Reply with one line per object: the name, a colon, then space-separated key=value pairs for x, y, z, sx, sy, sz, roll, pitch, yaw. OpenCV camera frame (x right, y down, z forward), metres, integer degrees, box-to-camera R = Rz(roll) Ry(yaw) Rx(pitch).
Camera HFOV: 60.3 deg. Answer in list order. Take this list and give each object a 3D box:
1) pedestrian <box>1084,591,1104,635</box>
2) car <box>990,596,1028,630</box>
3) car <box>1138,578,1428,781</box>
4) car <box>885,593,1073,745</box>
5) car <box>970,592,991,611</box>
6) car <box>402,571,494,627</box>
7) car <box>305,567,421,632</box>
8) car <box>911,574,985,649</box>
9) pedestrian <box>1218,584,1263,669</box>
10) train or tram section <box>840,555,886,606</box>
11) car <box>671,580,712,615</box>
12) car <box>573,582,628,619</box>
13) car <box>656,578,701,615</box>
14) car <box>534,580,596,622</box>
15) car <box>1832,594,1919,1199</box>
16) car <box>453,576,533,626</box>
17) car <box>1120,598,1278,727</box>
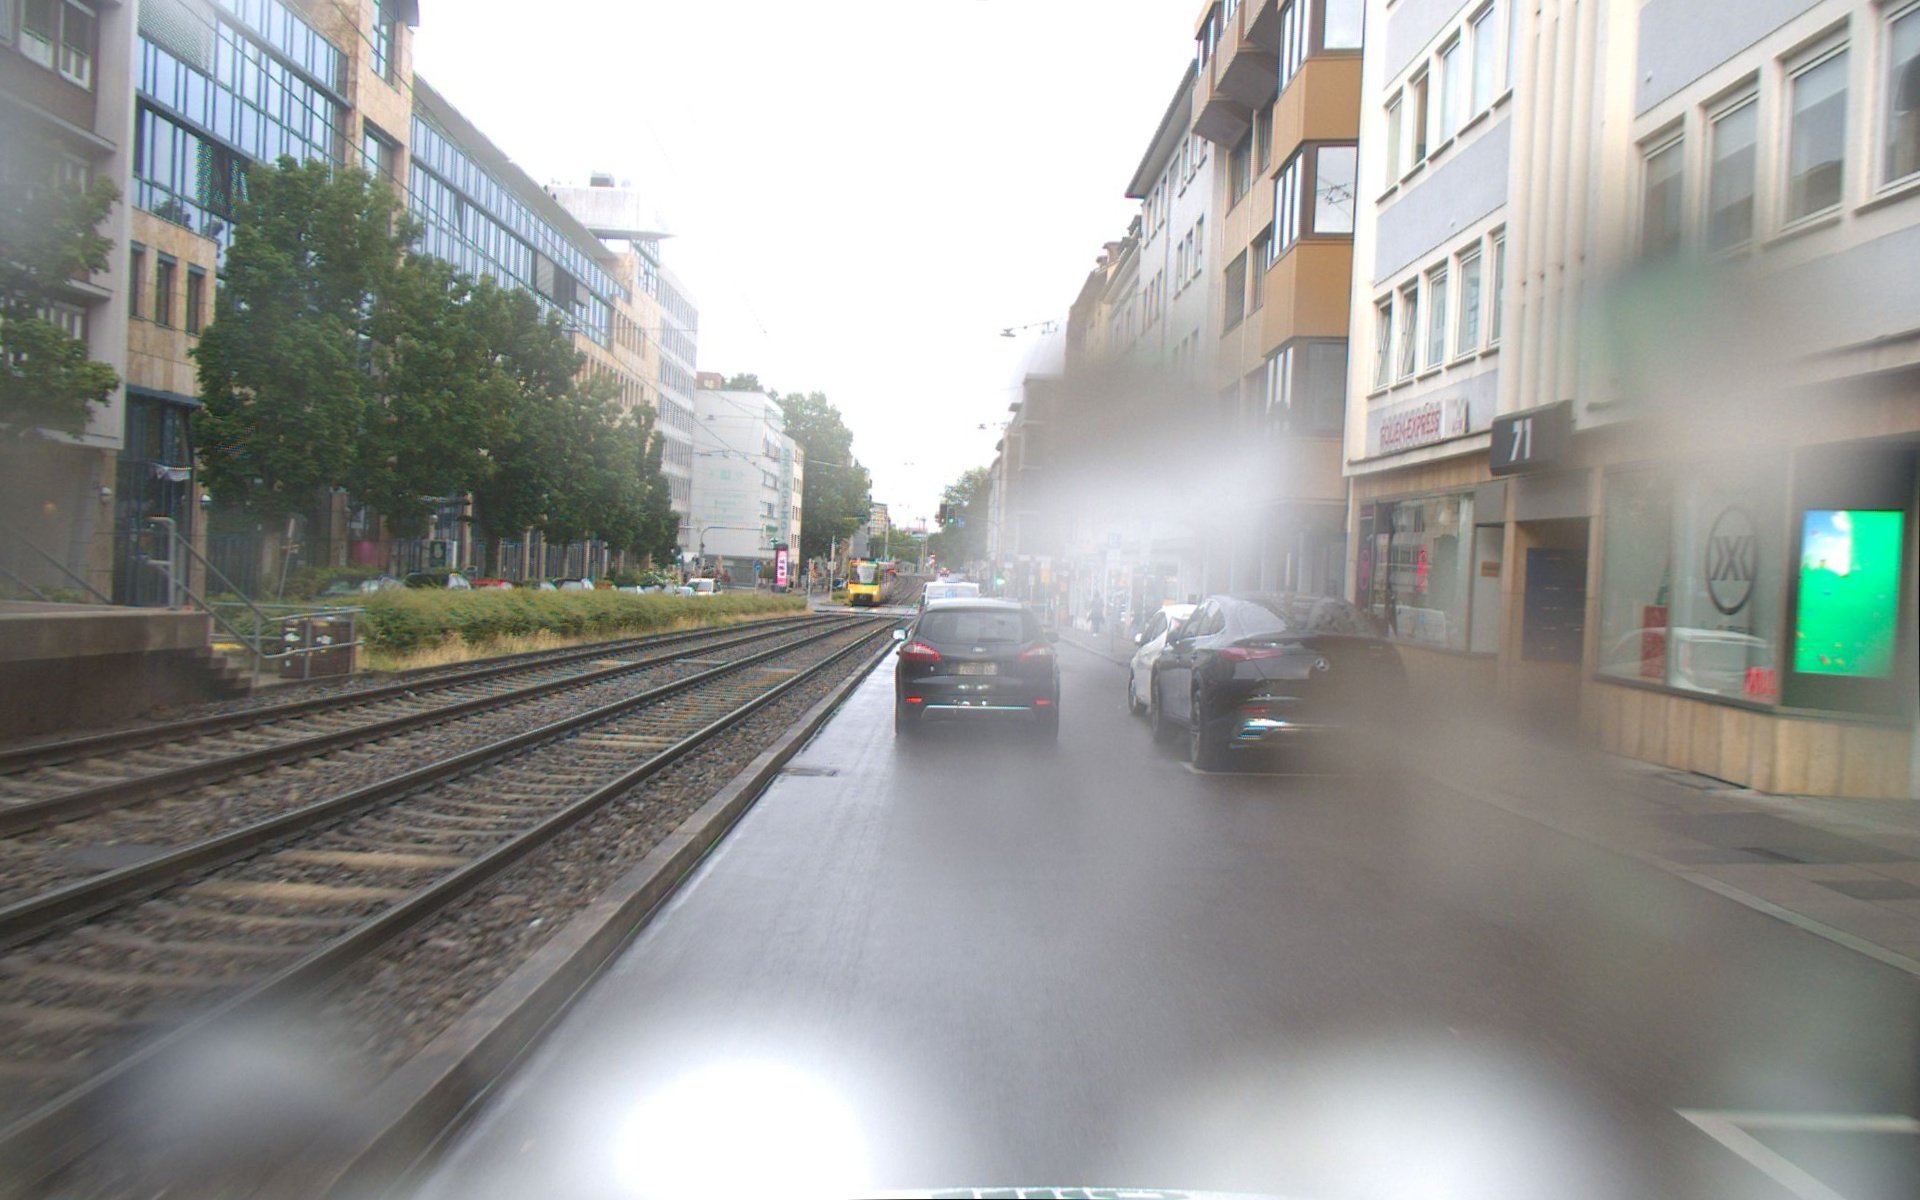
pedestrian: x=4.820 y=0.463 z=59.581 sx=0.599 sy=1.564 sz=0.649 roll=2 pitch=0 yaw=-2
car: x=2.561 y=0.693 z=88.026 sx=1.867 sy=1.662 sz=4.573 roll=2 pitch=-1 yaw=0
car: x=3.009 y=0.675 z=16.560 sx=1.771 sy=1.660 sz=5.168 roll=2 pitch=0 yaw=-1
car: x=0.188 y=0.725 z=18.616 sx=1.868 sy=1.488 sz=3.444 roll=2 pitch=-1 yaw=0
car: x=1.826 y=0.139 z=150.035 sx=1.867 sy=1.662 sz=4.573 roll=2 pitch=-1 yaw=0
car: x=-14.600 y=-0.028 z=47.353 sx=1.537 sy=1.461 sz=4.174 roll=2 pitch=0 yaw=-4
car: x=-14.658 y=-0.009 z=40.806 sx=1.537 sy=1.461 sz=4.174 roll=2 pitch=0 yaw=-4
car: x=-0.274 y=0.332 z=45.694 sx=1.867 sy=1.897 sz=4.574 roll=2 pitch=-1 yaw=1
pedestrian: x=5.725 y=0.539 z=33.794 sx=0.681 sy=1.681 sz=0.965 roll=2 pitch=0 yaw=-1
train or tram section: x=-7.710 y=-1.501 z=132.142 sx=3.443 sy=3.843 sz=11.324 roll=2 pitch=0 yaw=-3
car: x=-15.686 y=-0.114 z=96.947 sx=1.869 sy=1.897 sz=4.570 roll=2 pitch=-1 yaw=-4
car: x=-14.827 y=0.023 z=68.339 sx=1.537 sy=1.461 sz=4.174 roll=2 pitch=0 yaw=-4
car: x=-15.335 y=-0.177 z=90.254 sx=1.869 sy=1.897 sz=4.570 roll=2 pitch=-1 yaw=-4
car: x=-14.815 y=0.031 z=62.231 sx=1.537 sy=1.461 sz=4.174 roll=2 pitch=0 yaw=-4
car: x=3.256 y=0.762 z=2.026 sx=1.739 sy=1.494 sz=4.606 roll=2 pitch=0 yaw=-3
car: x=-14.707 y=0.035 z=52.239 sx=1.537 sy=1.461 sz=4.174 roll=2 pitch=0 yaw=-4
car: x=3.048 y=0.757 z=21.677 sx=1.525 sy=1.502 sz=3.565 roll=2 pitch=0 yaw=0
